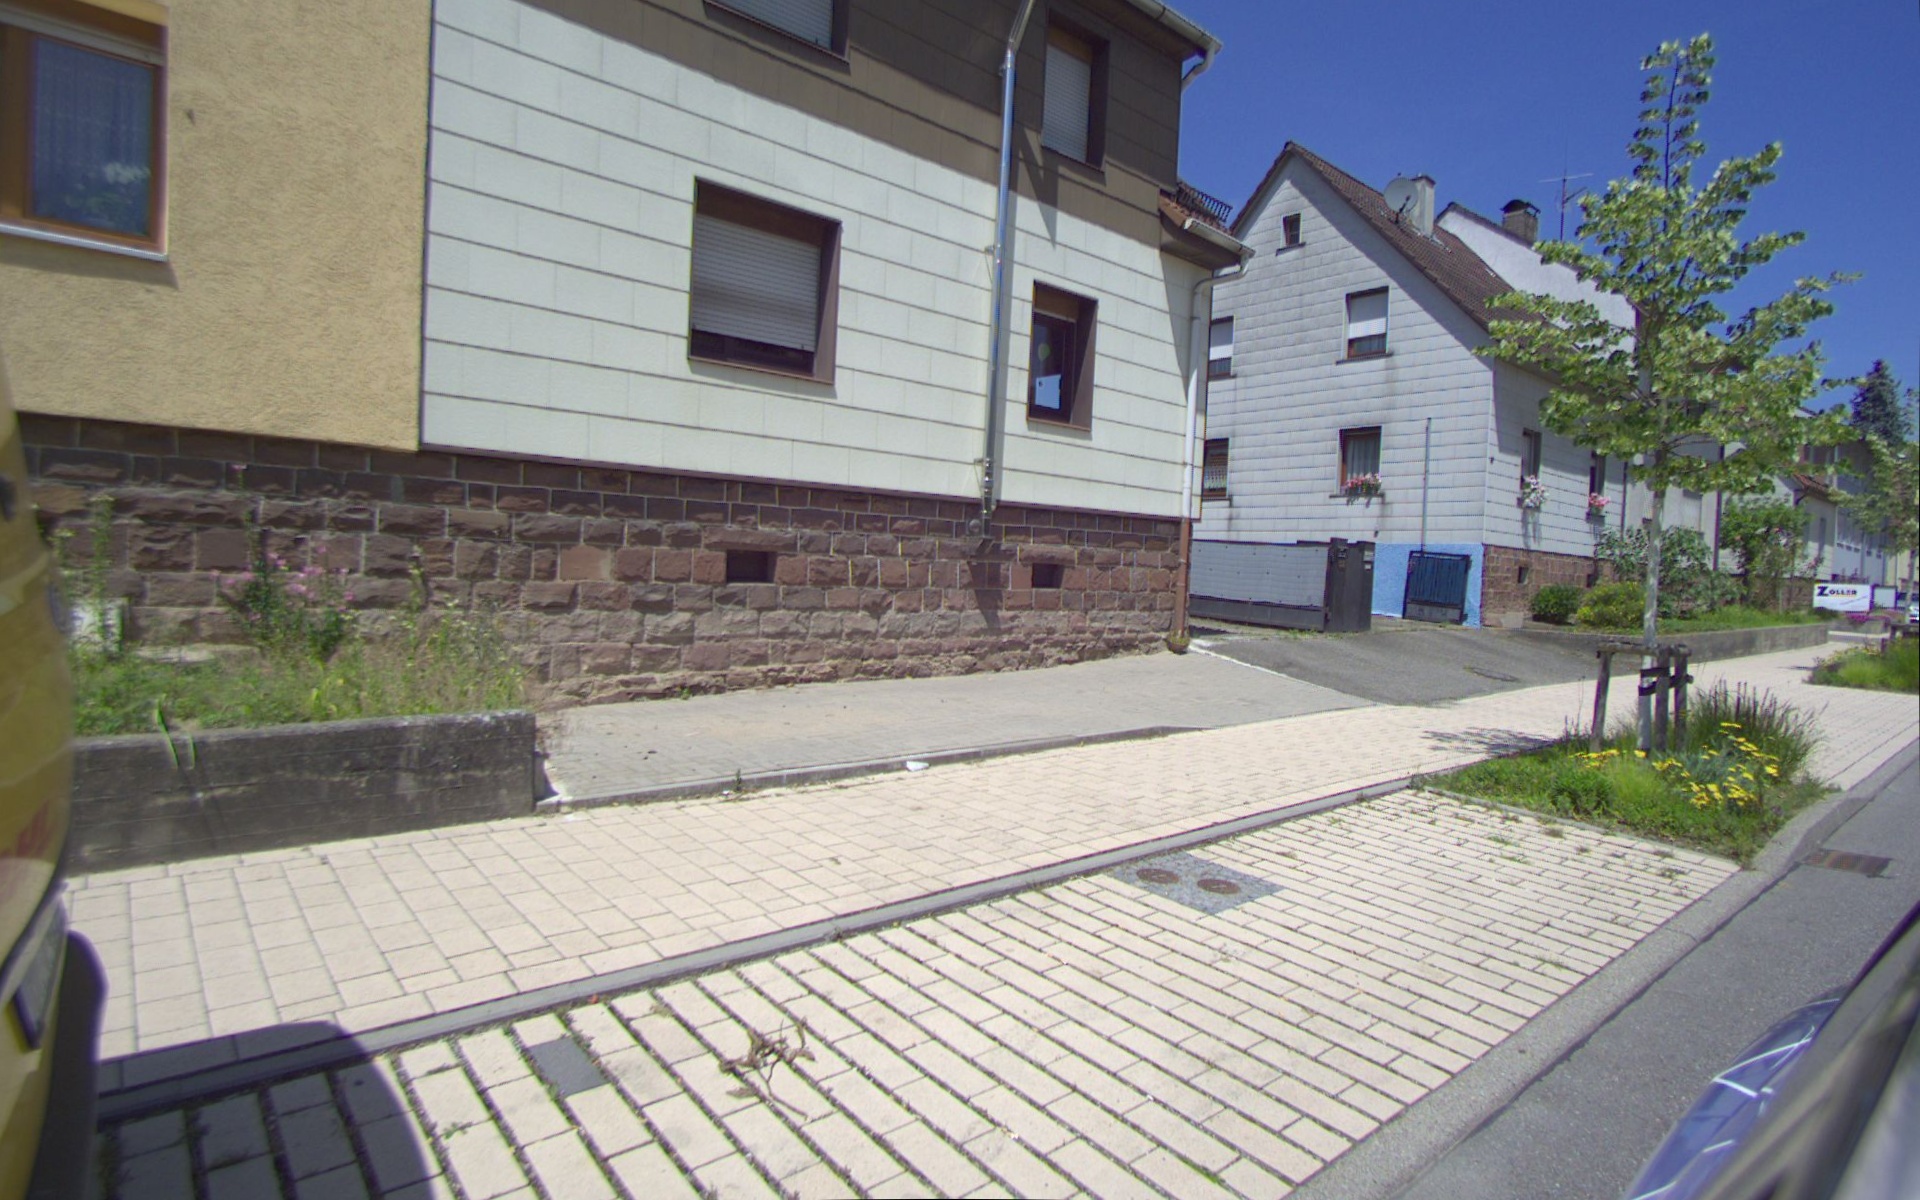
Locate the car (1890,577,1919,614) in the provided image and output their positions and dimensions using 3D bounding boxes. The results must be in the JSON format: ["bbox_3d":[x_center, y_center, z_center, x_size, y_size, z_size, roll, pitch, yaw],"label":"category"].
[{"bbox_3d":[46.688,-0.212,48.941,4.428,1.640,1.868,-1,6,-40],"label":"car"}]
